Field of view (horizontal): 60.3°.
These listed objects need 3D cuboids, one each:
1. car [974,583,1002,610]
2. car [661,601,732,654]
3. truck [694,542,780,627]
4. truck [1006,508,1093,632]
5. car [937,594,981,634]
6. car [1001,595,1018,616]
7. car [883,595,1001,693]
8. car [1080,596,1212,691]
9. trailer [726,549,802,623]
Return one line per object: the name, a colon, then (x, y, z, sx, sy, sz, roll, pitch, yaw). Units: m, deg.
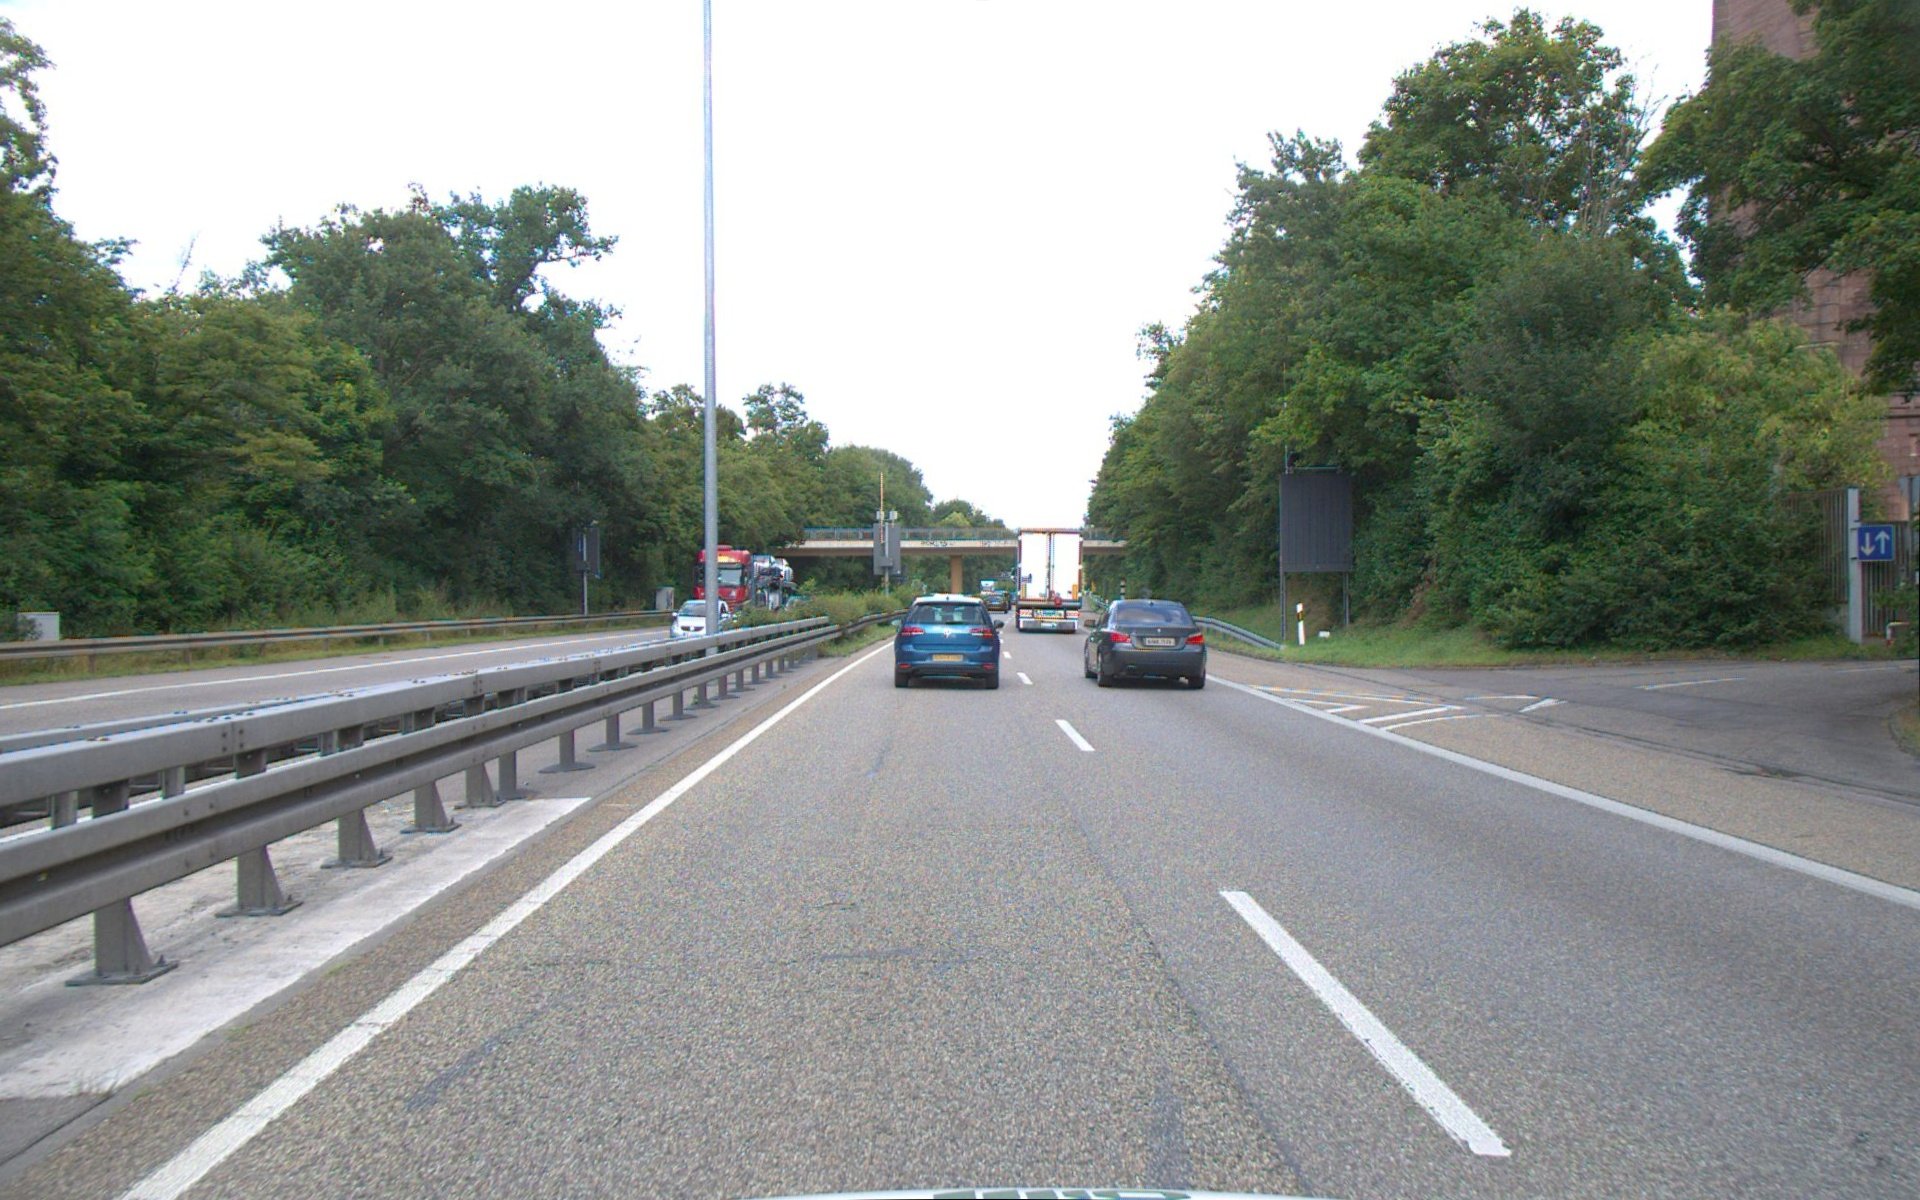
car: (2.174, -0.259, 127.499, 1.913, 2.049, 4.002, -1, 0, 3)
car: (-8.477, 0.863, 53.504, 1.671, 1.596, 4.031, -1, 0, -1)
truck: (-11.150, -0.757, 83.665, 2.894, 3.923, 10.323, -1, 0, 0)
truck: (3.633, -1.206, 69.749, 3.175, 4.798, 11.008, -1, 0, 1)
car: (-0.019, 0.516, 65.933, 1.631, 1.526, 4.153, 0, 0, 2)
car: (5.902, 0.623, 195.193, 1.952, 2.368, 4.443, -1, 0, 2)
car: (-0.229, 0.686, 27.942, 1.669, 1.495, 4.002, 1, 0, 4)
car: (3.174, 0.699, 29.105, 1.738, 1.501, 4.880, 1, 0, 0)
trailer: (-11.021, -0.784, 93.921, 2.877, 3.900, 10.311, -1, 0, 1)
